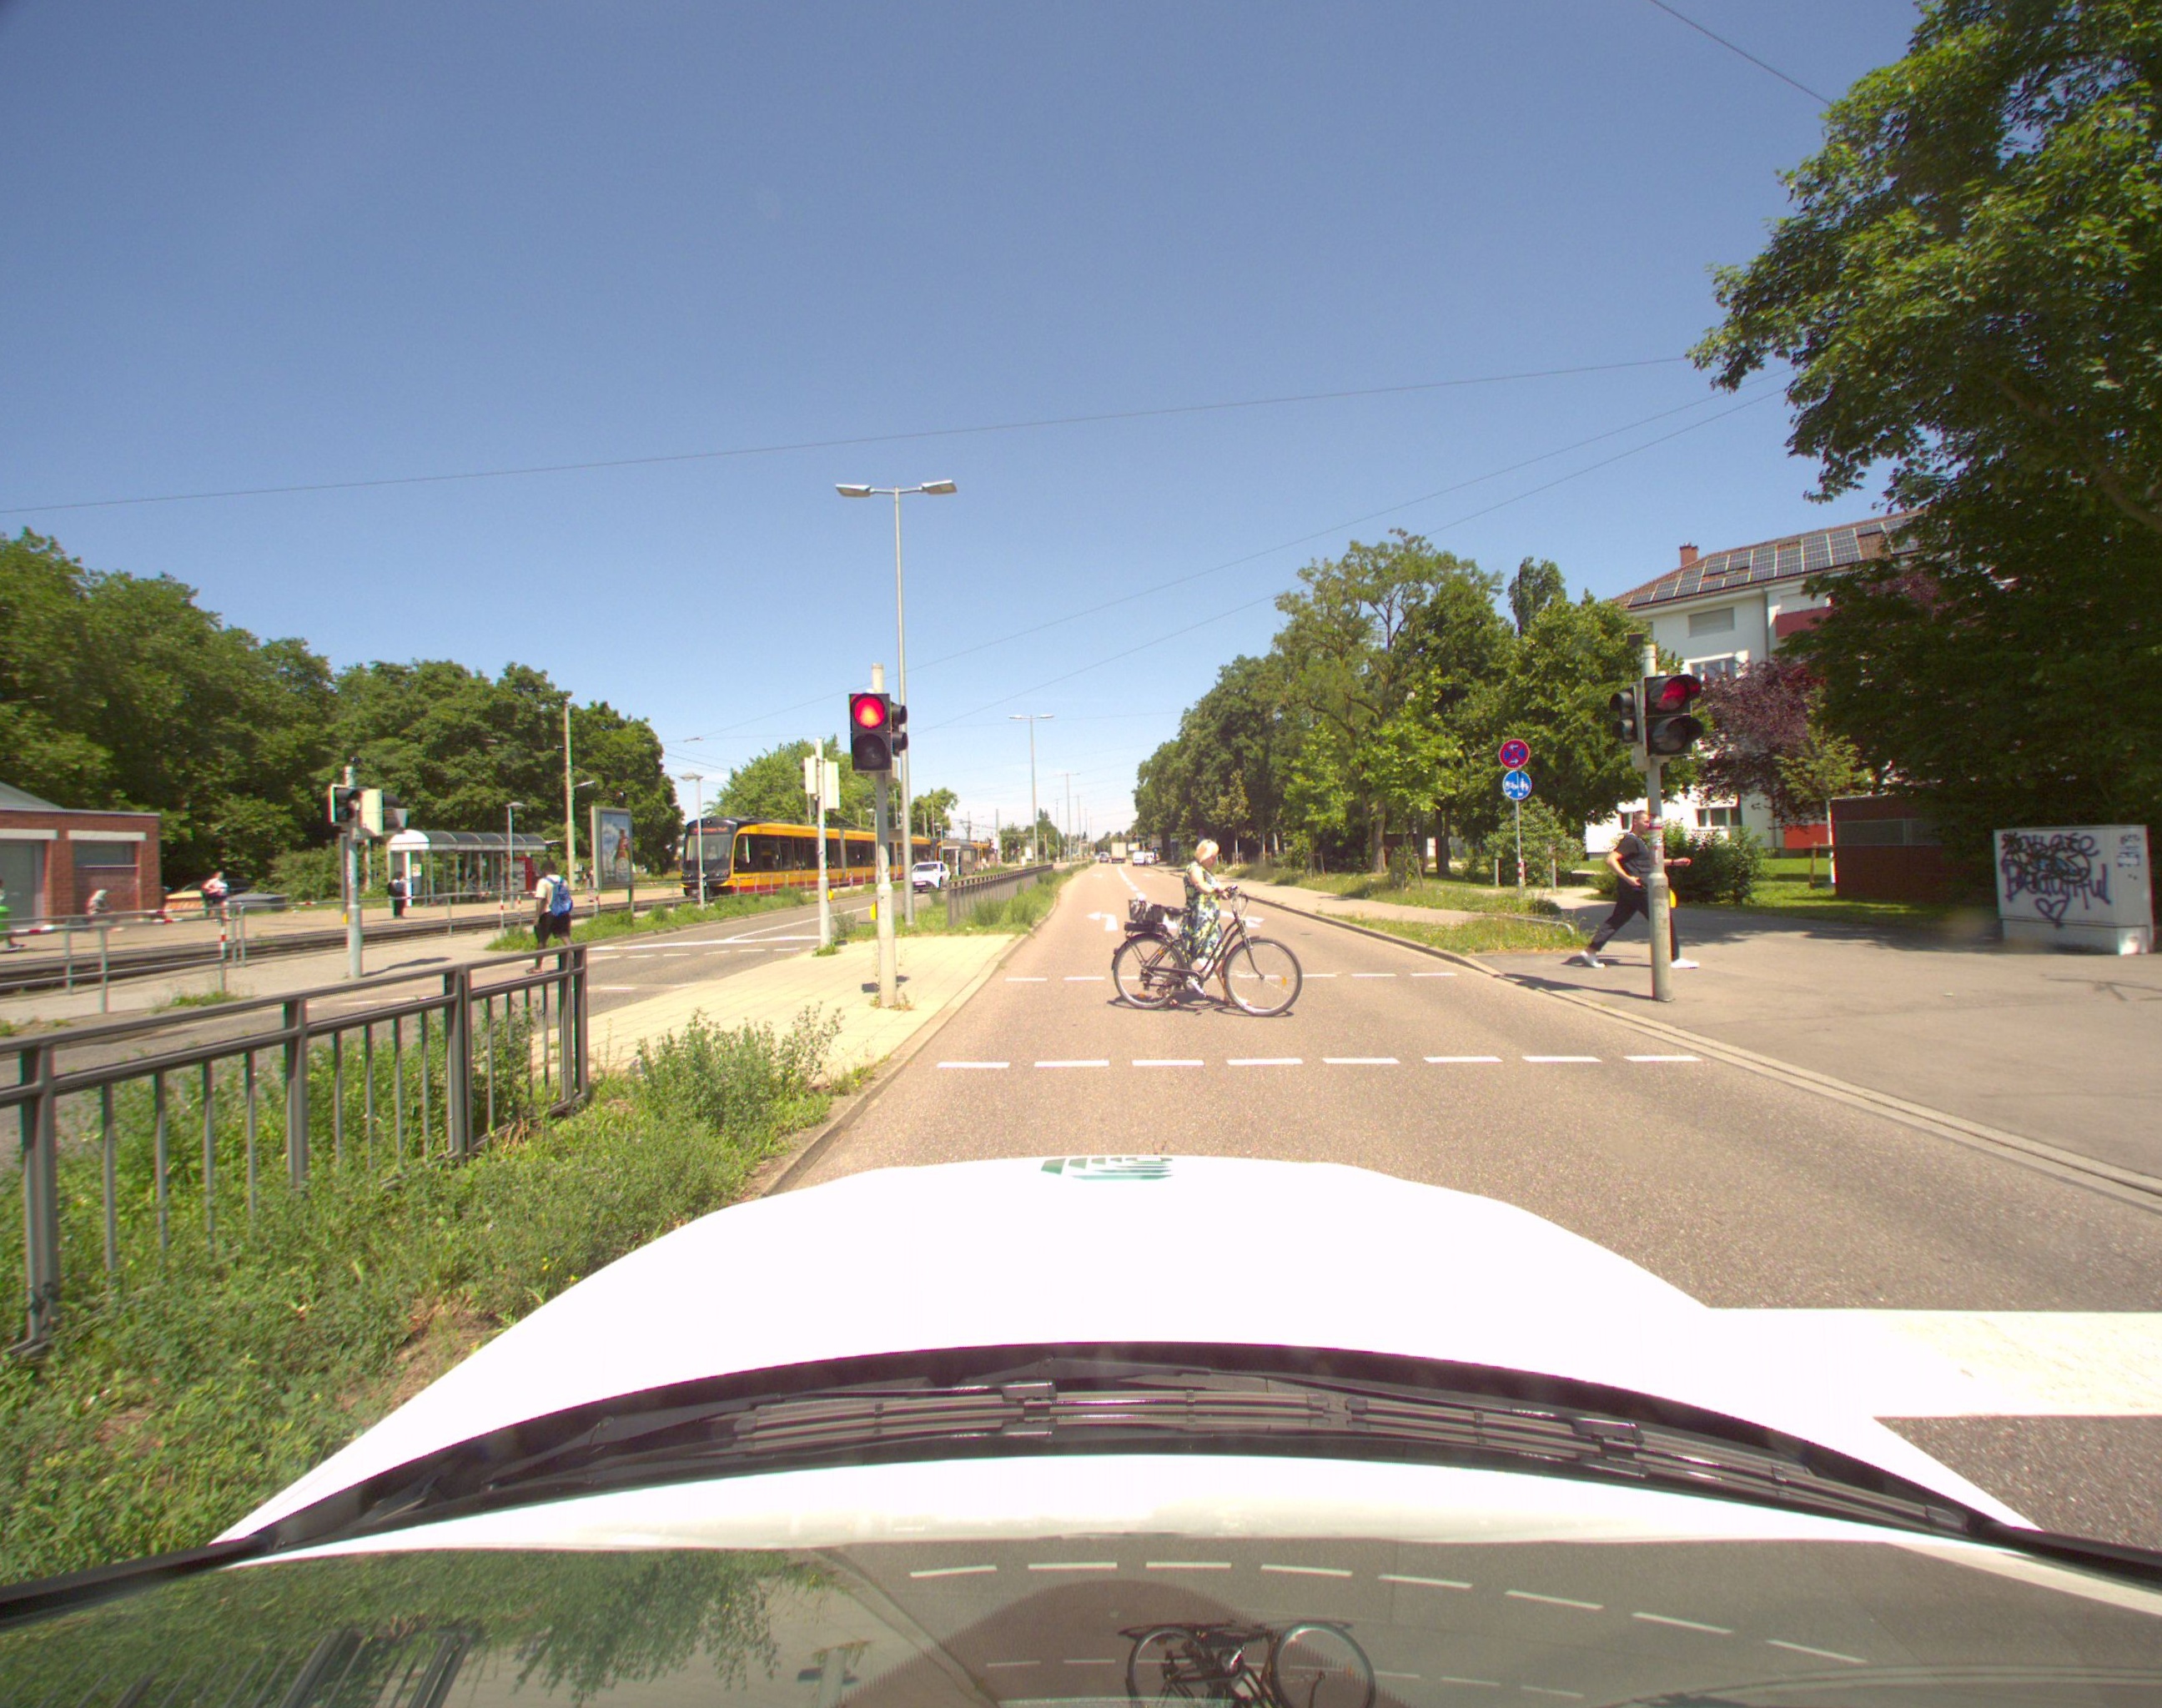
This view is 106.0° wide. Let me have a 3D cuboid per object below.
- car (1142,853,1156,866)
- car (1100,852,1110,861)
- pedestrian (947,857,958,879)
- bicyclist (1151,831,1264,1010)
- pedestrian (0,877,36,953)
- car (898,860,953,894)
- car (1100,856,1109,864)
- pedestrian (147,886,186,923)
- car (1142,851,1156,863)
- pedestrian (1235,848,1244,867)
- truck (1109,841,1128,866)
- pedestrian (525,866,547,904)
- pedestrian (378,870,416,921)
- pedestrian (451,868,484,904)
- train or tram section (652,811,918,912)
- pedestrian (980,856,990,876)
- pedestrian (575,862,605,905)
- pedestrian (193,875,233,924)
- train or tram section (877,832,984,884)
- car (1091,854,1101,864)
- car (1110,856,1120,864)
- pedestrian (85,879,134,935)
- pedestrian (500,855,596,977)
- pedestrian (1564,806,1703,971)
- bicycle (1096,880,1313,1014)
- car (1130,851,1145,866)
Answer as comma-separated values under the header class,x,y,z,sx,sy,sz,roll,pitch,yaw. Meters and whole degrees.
class,x,y,z,sx,sy,sz,roll,pitch,yaw
car,9.381,0.715,112.420,1.773,1.668,4.002,-2,0,2
car,4.879,0.550,163.581,1.986,1.816,4.001,0,-1,2
pedestrian,-10.983,1.199,69.728,0.783,1.868,0.818,-2,0,1
bicyclist,1.258,0.628,8.033,0.949,1.666,0.583,-2,1,19
pedestrian,-23.251,1.308,17.437,0.669,1.590,0.808,-2,0,1
car,-7.680,1.107,40.566,1.838,1.494,3.793,-2,0,2
car,4.536,1.189,157.938,1.804,1.464,4.002,-2,0,2
pedestrian,-28.801,1.582,25.647,0.634,1.124,0.572,-2,0,16
car,9.903,0.457,118.761,1.773,1.668,4.002,-2,0,2
pedestrian,12.112,0.273,62.181,0.600,1.438,0.557,-2,0,8
truck,6.770,-0.086,146.192,3.193,4.359,6.563,-2,0,2
pedestrian,-25.959,1.467,38.802,0.725,1.800,0.835,-1,0,-41
pedestrian,-21.544,1.291,25.661,0.635,1.555,0.691,-2,0,-11
pedestrian,-26.286,1.371,34.894,0.836,1.511,0.723,-2,0,12
train or tram section,-14.192,0.291,45.721,2.946,3.749,30.044,-2,0,2
pedestrian,-9.914,1.237,84.065,0.812,2.013,0.939,-2,0,1
pedestrian,-21.218,1.250,35.183,0.715,1.777,0.843,3,2,1
pedestrian,-26.548,1.382,24.905,0.633,1.456,0.586,-2,0,17
train or tram section,-13.171,0.281,77.248,2.920,3.789,33.100,-2,0,2
car,3.320,1.091,175.331,1.986,2.013,4.002,-2,0,2
car,6.481,1.140,153.687,1.804,1.464,4.002,-2,0,2
pedestrian,-26.681,1.437,22.381,0.636,1.480,0.570,-2,0,1
pedestrian,-8.370,0.952,12.812,0.837,1.777,0.720,-5,2,1
pedestrian,6.384,0.397,9.426,1.173,1.778,0.845,-5,-2,36
bicycle,1.174,0.860,7.803,1.941,1.161,0.544,-2,1,19
car,7.293,0.559,105.538,1.773,1.903,4.002,-2,0,2
